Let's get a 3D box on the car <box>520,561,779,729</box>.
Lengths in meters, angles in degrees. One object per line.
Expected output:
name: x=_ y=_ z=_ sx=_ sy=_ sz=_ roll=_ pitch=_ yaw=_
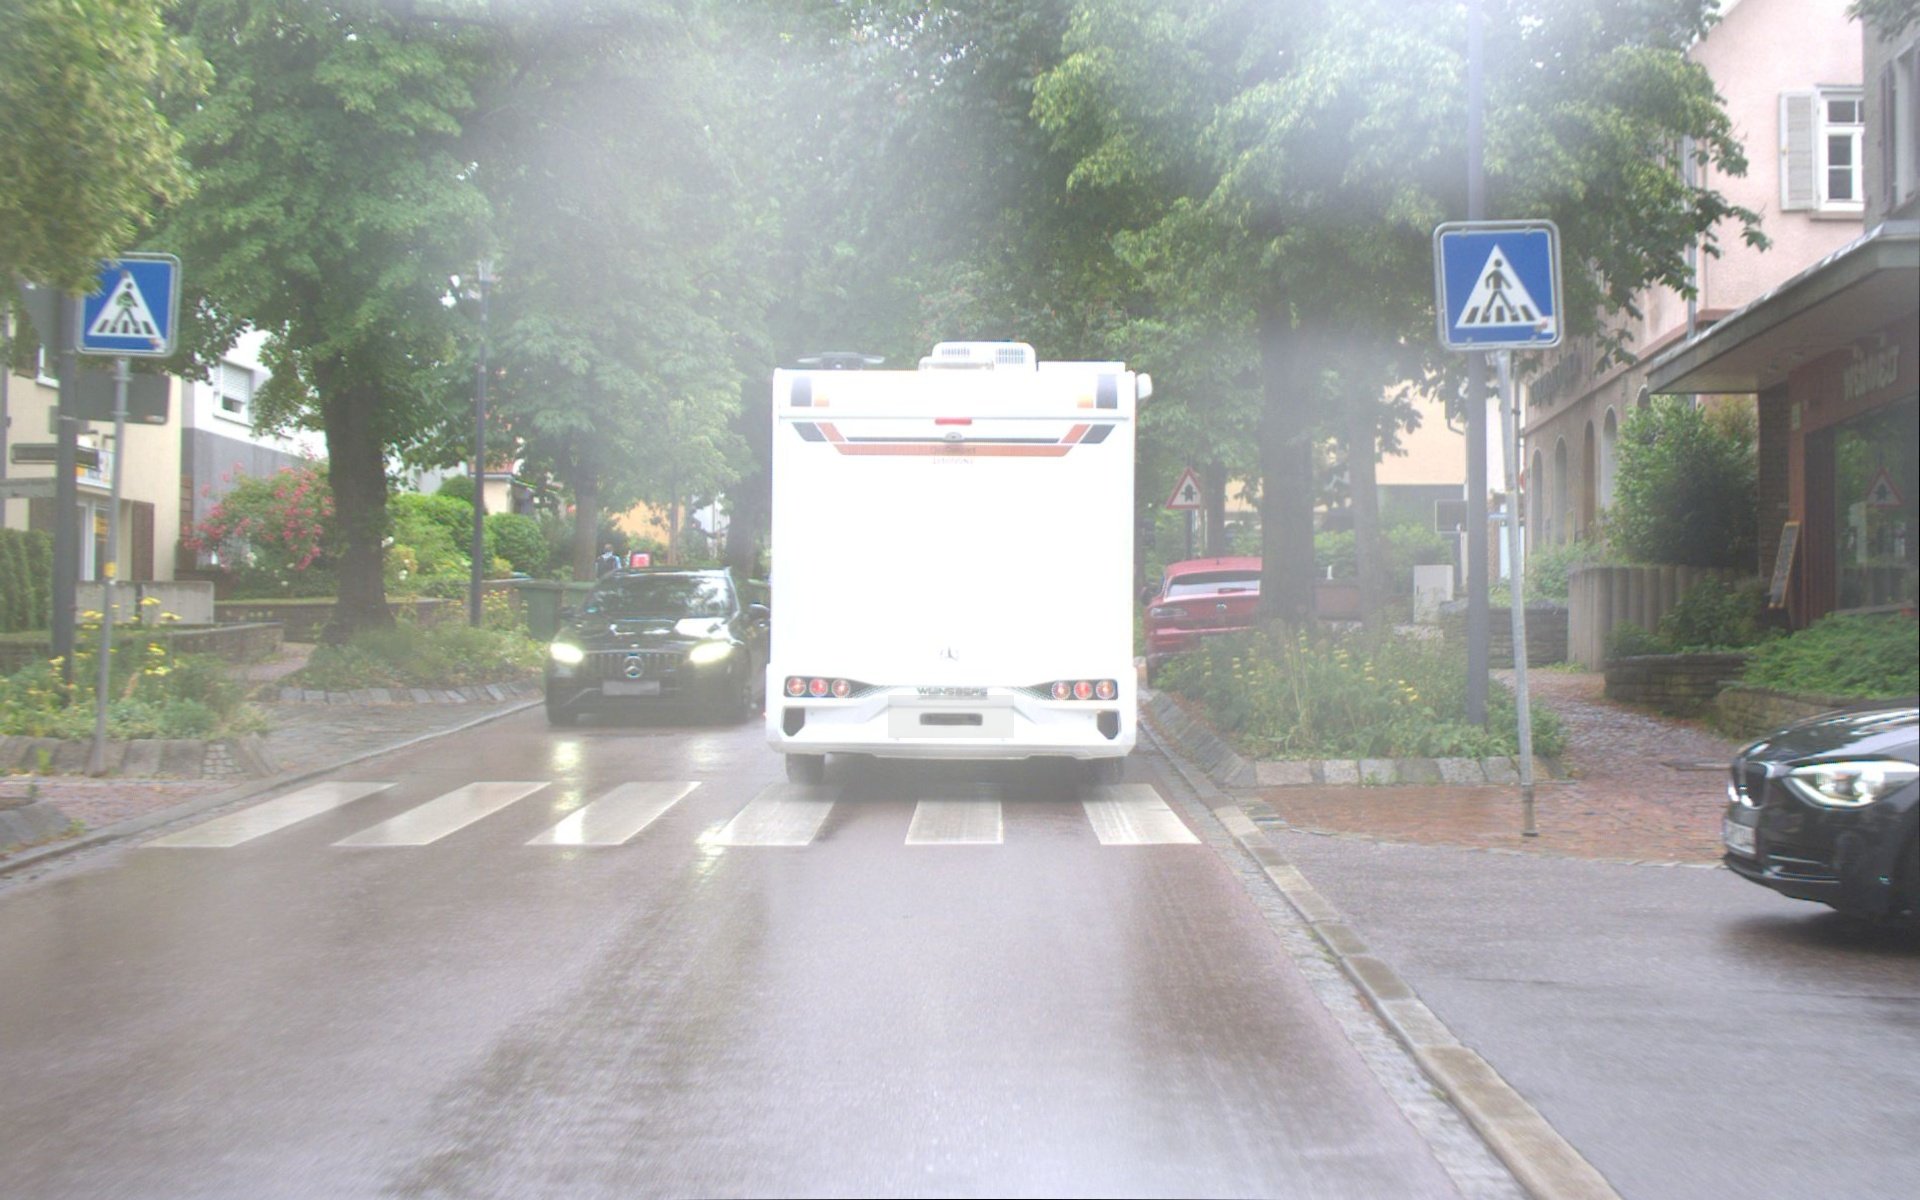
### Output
car: x=-2.811 y=0.368 z=31.998 sx=1.855 sy=1.380 sz=4.408 roll=2 pitch=1 yaw=1

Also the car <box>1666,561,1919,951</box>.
car: x=5.131 y=0.609 z=13.552 sx=4.283 sy=1.412 sz=1.840 roll=1 pitch=1 yaw=0

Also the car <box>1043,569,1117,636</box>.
car: x=2.802 y=0.079 z=80.848 sx=1.649 sy=1.536 sz=3.530 roll=-1 pitch=-1 yaw=1

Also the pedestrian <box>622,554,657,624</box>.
pedestrian: x=-8.507 y=-0.294 z=91.304 sx=0.817 sy=1.838 sz=0.770 roll=-1 pitch=-1 yaw=0

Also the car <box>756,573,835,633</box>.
car: x=-4.484 y=0.097 z=93.363 sx=1.797 sy=1.547 sz=4.001 roll=-1 pitch=-1 yaw=-7

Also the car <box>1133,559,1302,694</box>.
car: x=3.023 y=0.274 z=40.821 sx=1.855 sy=1.467 sz=4.364 roll=1 pitch=1 yaw=3

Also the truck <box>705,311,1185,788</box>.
truck: x=-0.075 y=-0.272 z=23.376 sx=2.806 sy=2.787 sz=6.106 roll=-1 pitch=-1 yaw=0

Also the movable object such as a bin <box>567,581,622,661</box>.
movable object such as a bin: x=-5.073 y=0.298 z=47.802 sx=0.670 sy=1.101 sz=0.817 roll=0 pitch=-1 yaw=0

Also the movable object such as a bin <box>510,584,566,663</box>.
movable object such as a bin: x=-5.923 y=0.328 z=48.273 sx=0.670 sy=1.101 sz=0.817 roll=0 pitch=-1 yaw=0
